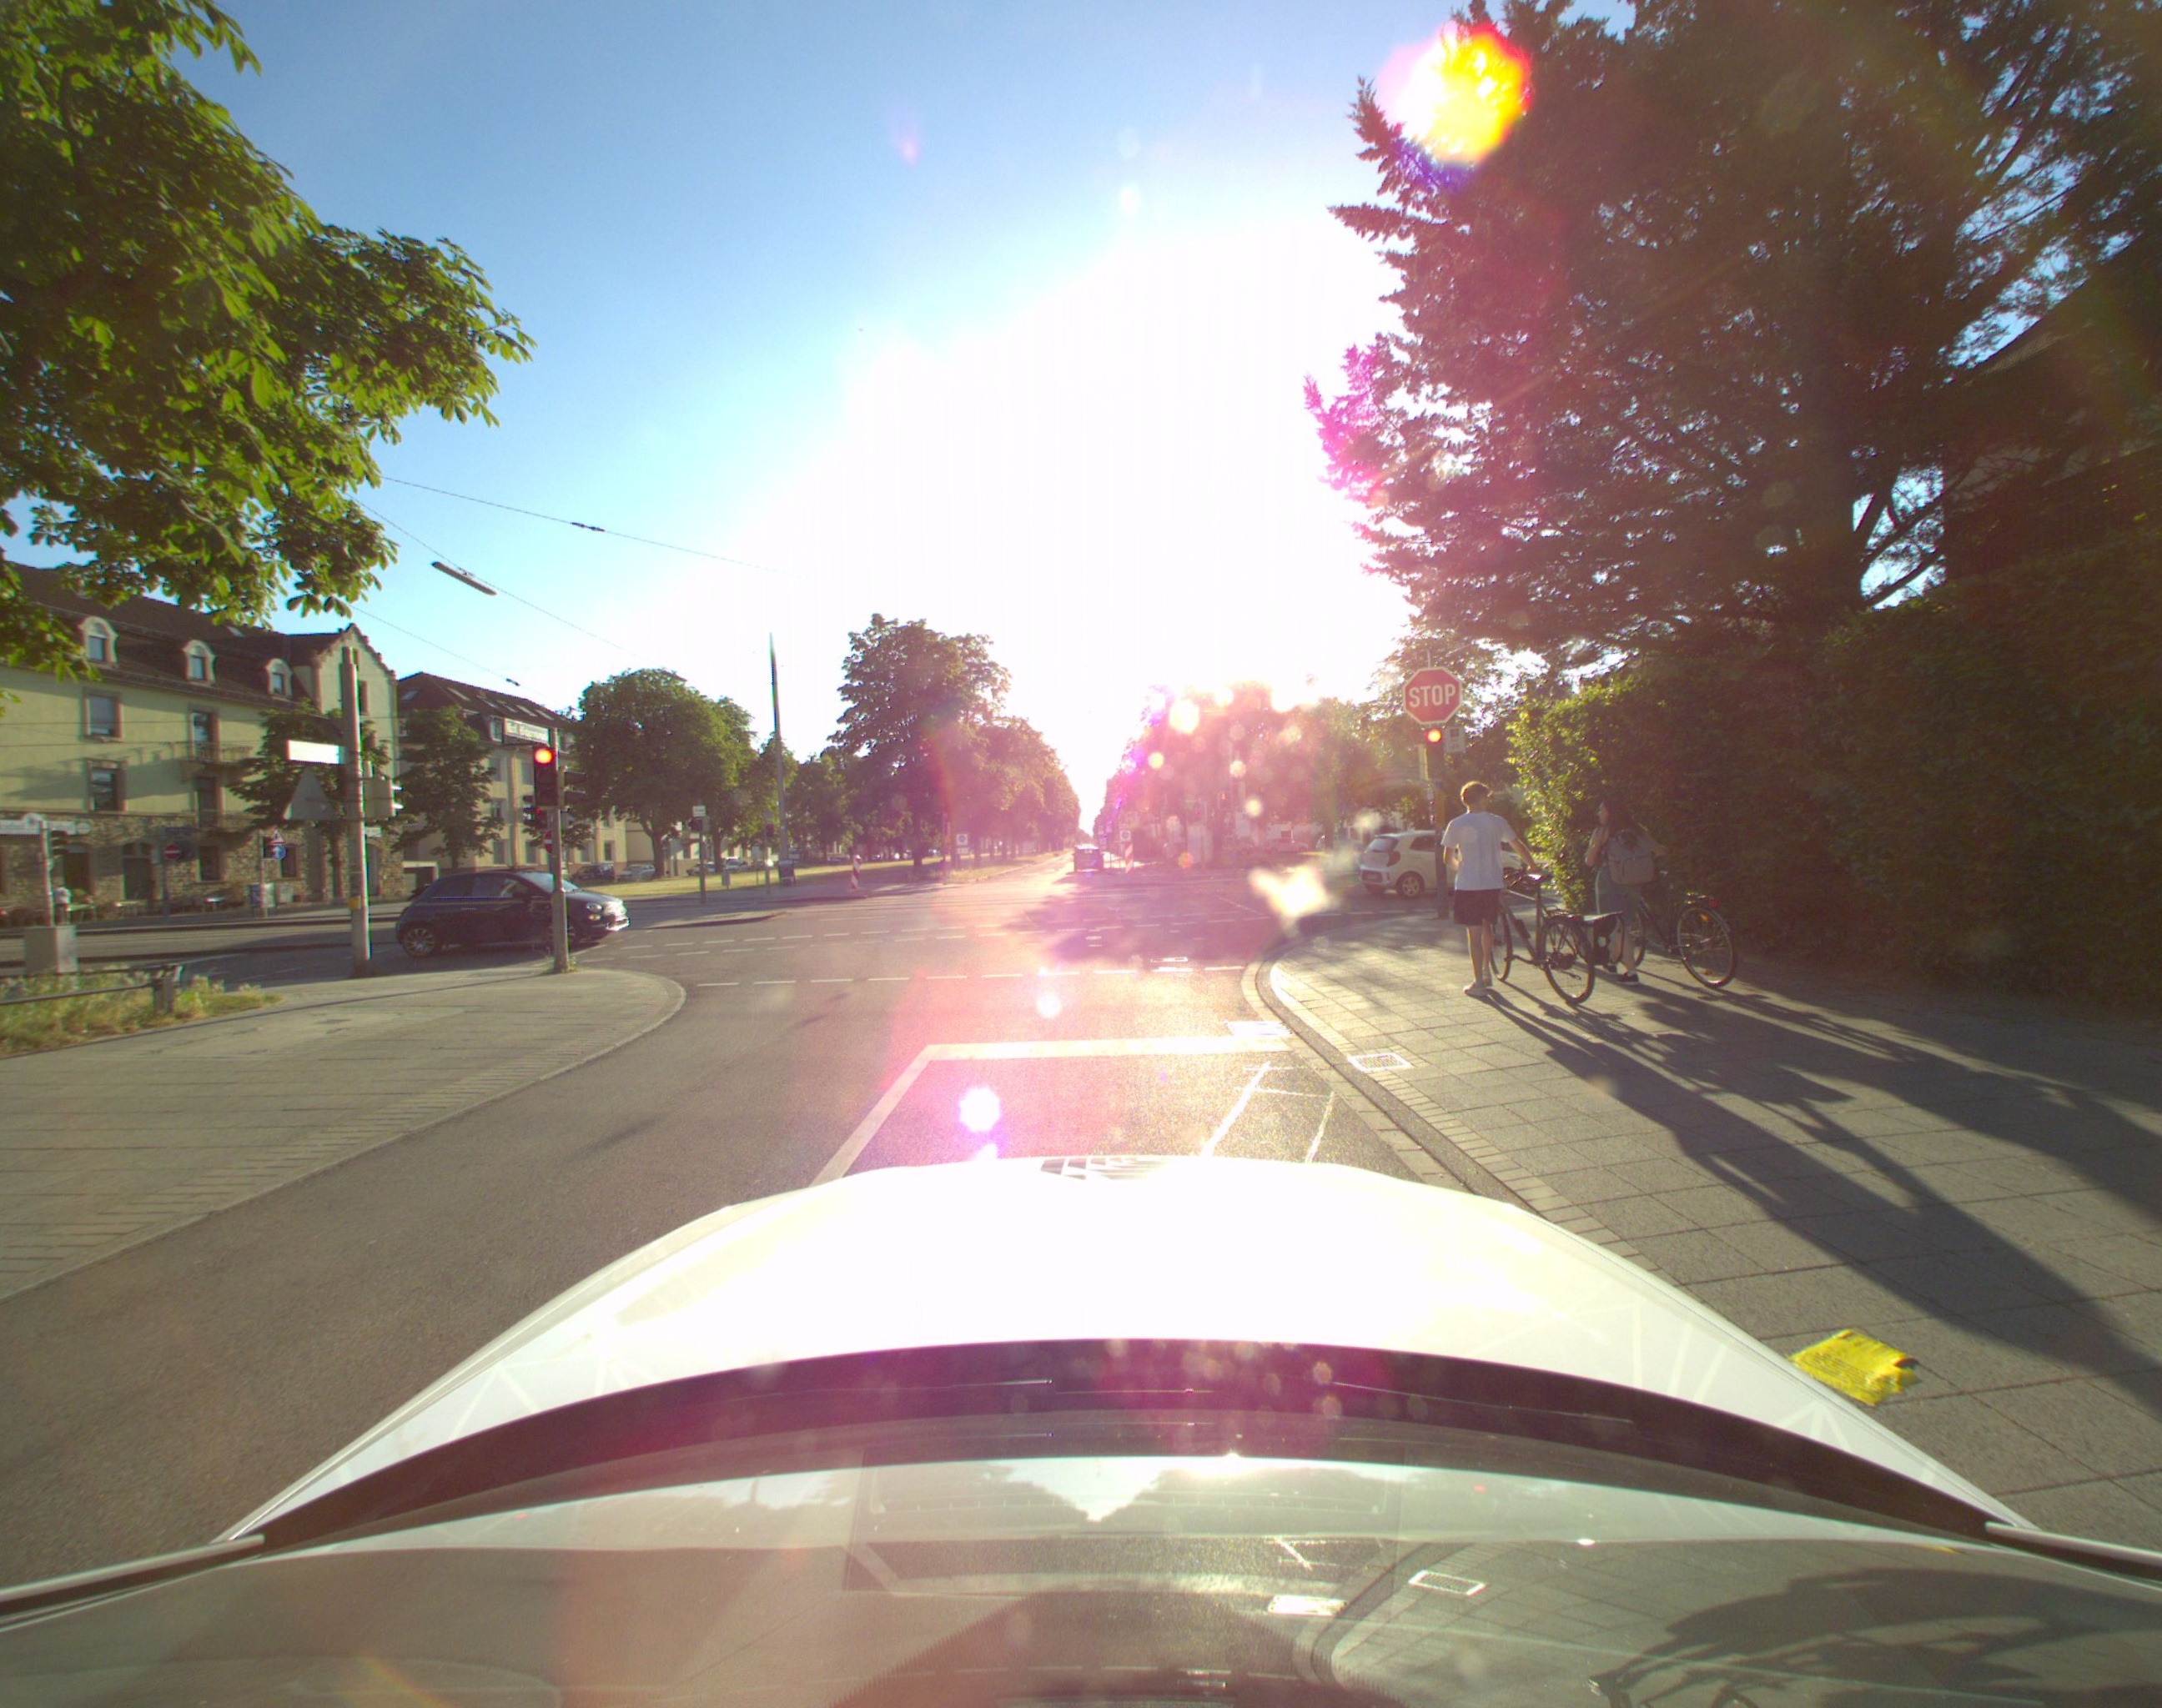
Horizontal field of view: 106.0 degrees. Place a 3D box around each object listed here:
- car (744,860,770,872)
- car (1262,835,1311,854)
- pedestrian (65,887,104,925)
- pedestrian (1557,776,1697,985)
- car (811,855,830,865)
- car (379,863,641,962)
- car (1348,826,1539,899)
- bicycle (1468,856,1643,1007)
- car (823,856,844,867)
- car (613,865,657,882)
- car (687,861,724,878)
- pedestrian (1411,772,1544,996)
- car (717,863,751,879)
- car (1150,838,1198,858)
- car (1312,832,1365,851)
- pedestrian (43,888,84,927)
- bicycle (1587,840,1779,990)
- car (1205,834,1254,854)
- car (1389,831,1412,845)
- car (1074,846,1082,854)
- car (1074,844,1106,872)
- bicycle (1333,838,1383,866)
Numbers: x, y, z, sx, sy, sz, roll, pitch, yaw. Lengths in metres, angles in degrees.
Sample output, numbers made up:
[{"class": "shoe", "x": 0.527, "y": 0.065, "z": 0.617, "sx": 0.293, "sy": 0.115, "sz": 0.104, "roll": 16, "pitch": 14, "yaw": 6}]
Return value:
[{"class": "car", "x": -42.500, "y": 1.523, "z": 106.781, "sx": 1.731, "sy": 1.427, "sz": 3.793, "roll": -2, "pitch": 1, "yaw": 1}, {"class": "car", "x": 17.073, "y": -0.811, "z": 67.728, "sx": 3.656, "sy": 1.427, "sz": 1.530, "roll": -2, "pitch": 0, "yaw": -4}, {"class": "pedestrian", "x": -44.997, "y": 2.353, "z": 36.774, "sx": 0.808, "sy": 1.642, "sz": 0.728, "roll": -2, "pitch": 0, "yaw": 9}, {"class": "pedestrian", "x": 4.798, "y": 0.218, "z": 7.195, "sx": 0.667, "sy": 1.708, "sz": 0.623, "roll": -6, "pitch": 1, "yaw": 0}, {"class": "car", "x": -41.848, "y": 0.996, "z": 130.733, "sx": 1.731, "sy": 1.427, "sz": 3.793, "roll": -2, "pitch": 1, "yaw": 1}, {"class": "car", "x": -10.541, "y": 1.034, "z": 15.294, "sx": 3.596, "sy": 1.497, "sz": 1.607, "roll": -3, "pitch": 1, "yaw": -10}, {"class": "car", "x": 8.304, "y": 0.147, "z": 18.778, "sx": 3.686, "sy": 1.488, "sz": 1.736, "roll": -2, "pitch": 2, "yaw": -10}, {"class": "bicycle", "x": 4.101, "y": 0.601, "z": 7.204, "sx": 0.485, "sy": 1.097, "sz": 1.792, "roll": -5, "pitch": 1, "yaw": 2}, {"class": "car", "x": -36.557, "y": 1.121, "z": 120.352, "sx": 1.731, "sy": 1.427, "sz": 3.793, "roll": -2, "pitch": 1, "yaw": 1}, {"class": "car", "x": -42.135, "y": 1.794, "z": 77.024, "sx": 1.729, "sy": 1.427, "sz": 3.800, "roll": -2, "pitch": 1, "yaw": 7}, {"class": "car", "x": -36.650, "y": 1.476, "z": 79.495, "sx": 1.731, "sy": 1.427, "sz": 3.794, "roll": -2, "pitch": 1, "yaw": 1}, {"class": "pedestrian", "x": 3.580, "y": 0.254, "z": 7.423, "sx": 0.667, "sy": 1.865, "sz": 0.883, "roll": -6, "pitch": 1, "yaw": 5}, {"class": "car", "x": -36.458, "y": 1.747, "z": 85.624, "sx": 1.731, "sy": 1.427, "sz": 3.794, "roll": -2, "pitch": 2, "yaw": 1}, {"class": "car", "x": 7.694, "y": -0.513, "z": 67.764, "sx": 3.767, "sy": 1.427, "sz": 1.744, "roll": -2, "pitch": 2, "yaw": 0}, {"class": "car", "x": 21.591, "y": -1.061, "z": 68.354, "sx": 3.837, "sy": 1.427, "sz": 1.595, "roll": -2, "pitch": 0, "yaw": -4}, {"class": "pedestrian", "x": -44.756, "y": 2.347, "z": 35.822, "sx": 0.723, "sy": 1.642, "sz": 0.813, "roll": -2, "pitch": 0, "yaw": -10}, {"class": "bicycle", "x": 5.208, "y": 0.466, "z": 7.177, "sx": 0.485, "sy": 1.142, "sz": 1.599, "roll": -5, "pitch": 1, "yaw": 2}, {"class": "car", "x": 12.356, "y": -0.826, "z": 67.940, "sx": 3.767, "sy": 1.525, "sz": 1.744, "roll": -2, "pitch": 2, "yaw": 0}, {"class": "car", "x": 33.747, "y": -1.728, "z": 86.039, "sx": 1.648, "sy": 1.417, "sz": 3.565, "roll": -2, "pitch": 1, "yaw": 30}, {"class": "car", "x": -0.802, "y": -1.066, "z": 228.685, "sx": 2.126, "sy": 2.013, "sz": 3.903, "roll": -2, "pitch": 1, "yaw": 1}, {"class": "car", "x": 0.542, "y": 0.203, "z": 46.862, "sx": 1.634, "sy": 1.450, "sz": 3.310, "roll": -2, "pitch": 1, "yaw": 3}, {"class": "bicycle", "x": 12.053, "y": -0.101, "z": 35.445, "sx": 1.946, "sy": 1.132, "sz": 0.620, "roll": -2, "pitch": 0, "yaw": 2}]
